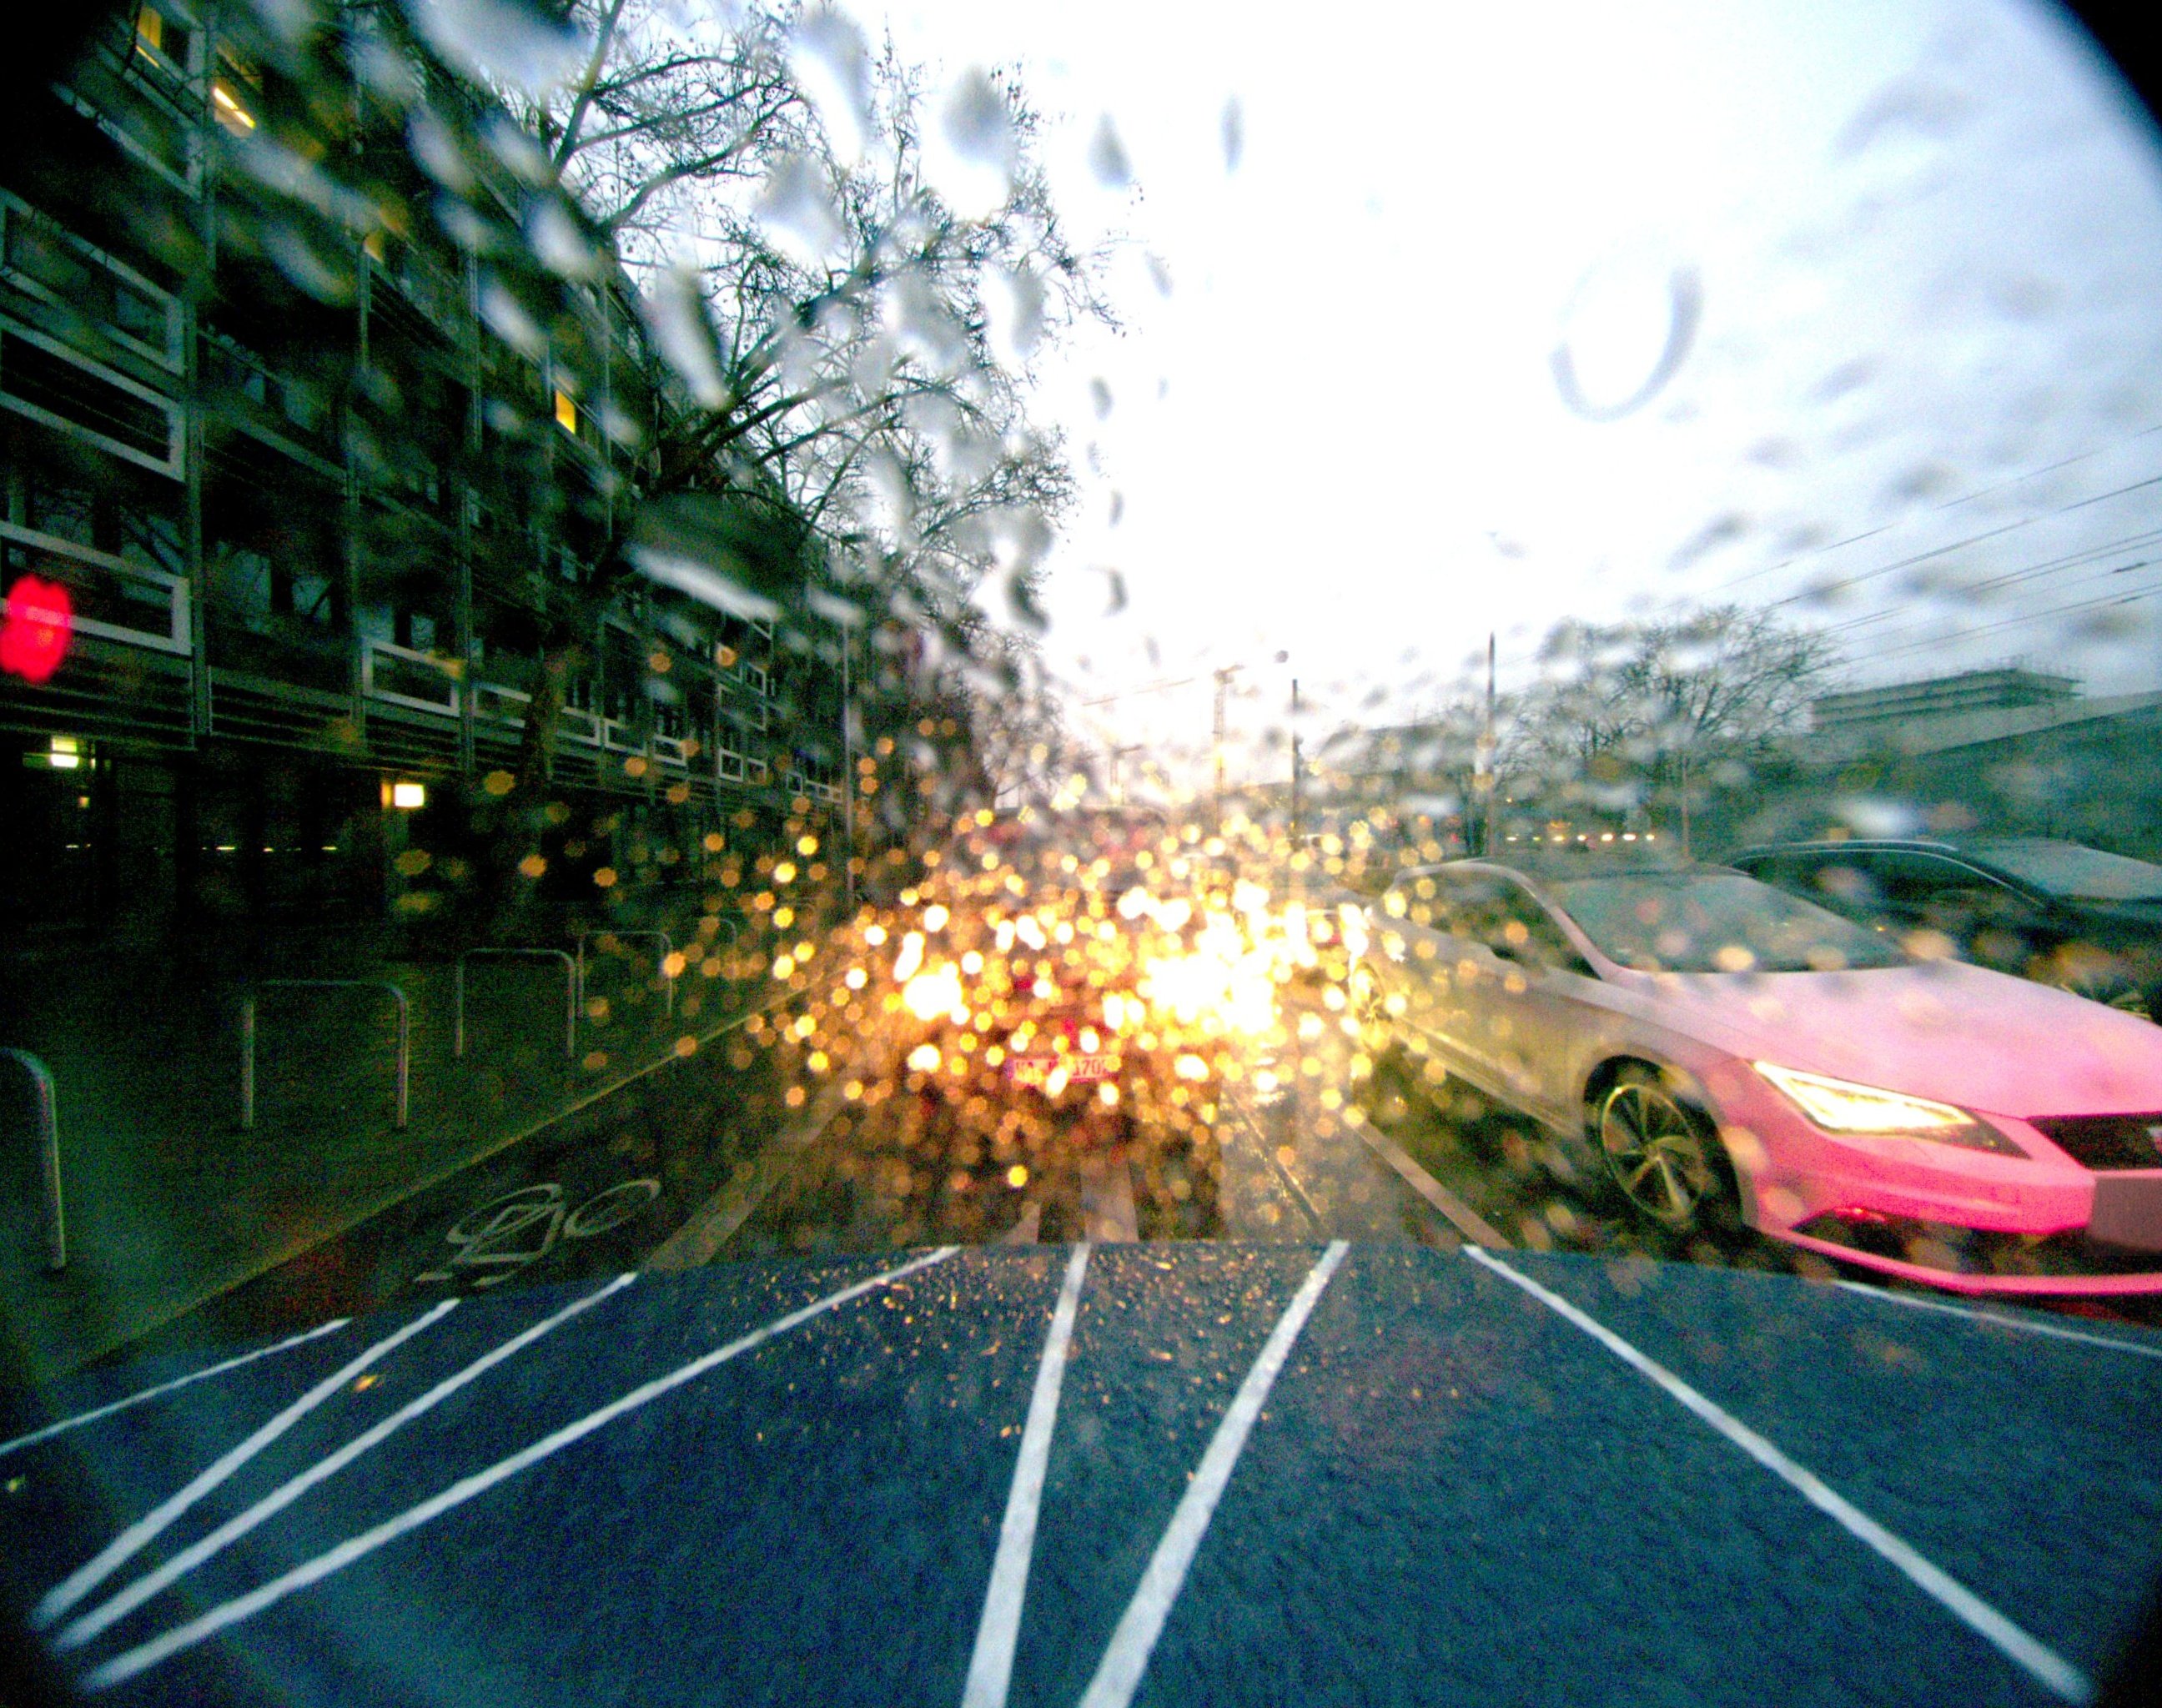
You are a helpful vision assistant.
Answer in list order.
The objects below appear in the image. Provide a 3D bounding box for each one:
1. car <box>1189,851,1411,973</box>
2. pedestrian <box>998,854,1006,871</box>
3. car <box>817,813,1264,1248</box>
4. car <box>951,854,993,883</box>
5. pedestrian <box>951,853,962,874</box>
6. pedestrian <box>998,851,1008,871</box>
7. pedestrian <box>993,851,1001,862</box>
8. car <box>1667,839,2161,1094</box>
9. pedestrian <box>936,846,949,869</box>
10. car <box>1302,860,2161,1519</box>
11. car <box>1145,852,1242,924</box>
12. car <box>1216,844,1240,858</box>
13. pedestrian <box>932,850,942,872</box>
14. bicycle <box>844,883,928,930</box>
[{"bbox_3d":[3.012,0.701,11.573,1.999,1.478,4.505,-1,0,-1],"label":"car"},{"bbox_3d":[-8.150,0.871,78.755,0.766,1.740,0.928,0,1,-4],"label":"pedestrian"},{"bbox_3d":[-0.177,0.751,5.310,1.878,1.830,3.999,-2,1,0],"label":"car"},{"bbox_3d":[-6.175,0.786,43.386,1.713,1.455,3.999,-2,1,1],"label":"car"},{"bbox_3d":[-10.157,0.758,61.975,0.766,1.740,0.928,0,1,-4],"label":"pedestrian"},{"bbox_3d":[-7.005,0.609,68.215,0.766,1.740,0.928,0,1,-4],"label":"pedestrian"},{"bbox_3d":[-10.451,0.300,94.295,0.782,1.330,0.751,-2,1,1],"label":"pedestrian"},{"bbox_3d":[7.356,0.651,5.975,1.853,1.499,4.662,-1,1,-1],"label":"car"},{"bbox_3d":[-13.275,0.333,72.767,1.062,2.182,1.110,-2,1,-11],"label":"pedestrian"},{"bbox_3d":[2.984,0.839,4.159,1.949,1.478,4.504,-2,0,-4],"label":"car"},{"bbox_3d":[2.771,0.790,19.629,1.907,1.565,3.999,-2,1,1],"label":"car"},{"bbox_3d":[20.089,-0.428,104.209,2.095,1.884,3.997,-1,1,-7],"label":"car"},{"bbox_3d":[-12.570,0.602,66.293,0.699,1.968,0.928,0,1,1],"label":"pedestrian"},{"bbox_3d":[-4.491,1.206,17.604,1.704,0.987,0.879,1,1,0],"label":"bicycle"}]
